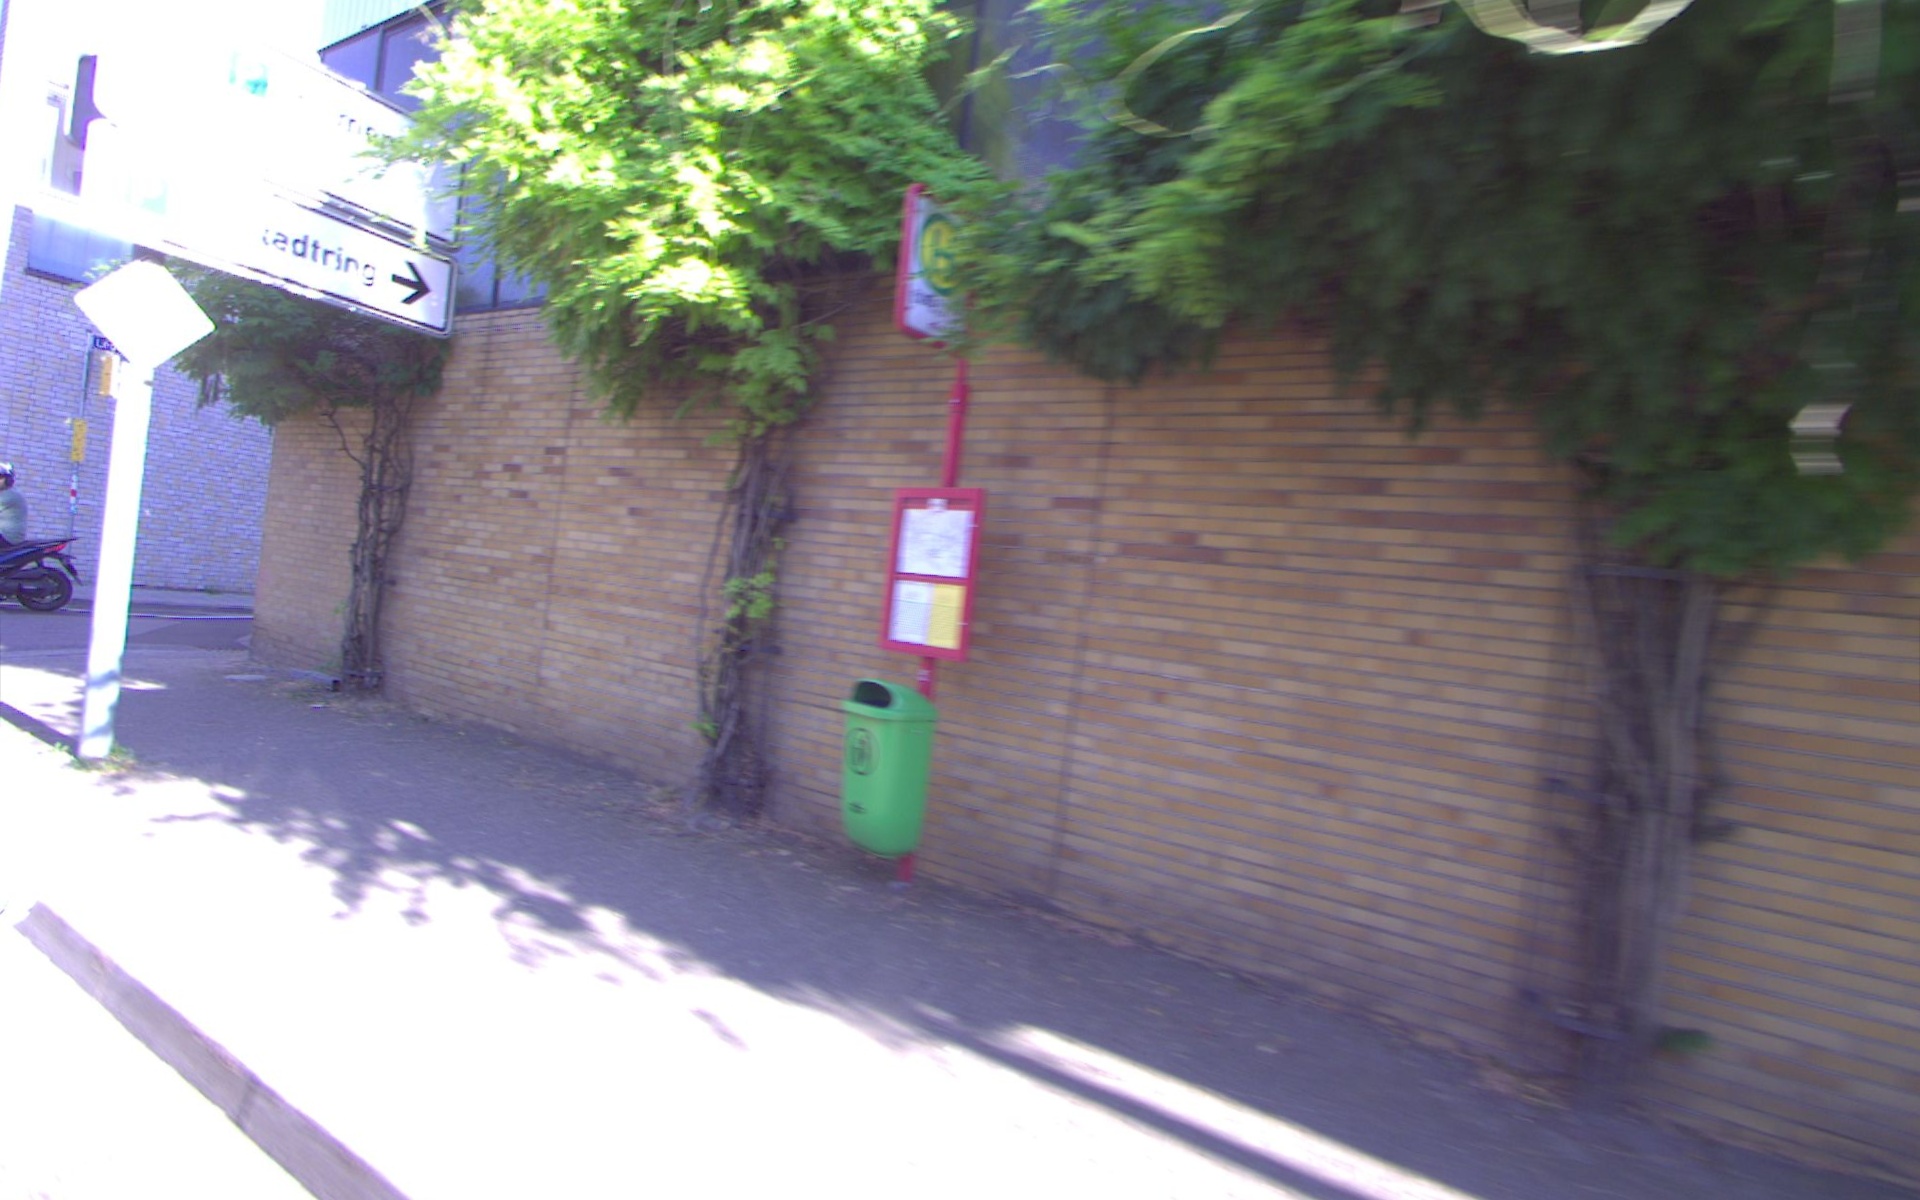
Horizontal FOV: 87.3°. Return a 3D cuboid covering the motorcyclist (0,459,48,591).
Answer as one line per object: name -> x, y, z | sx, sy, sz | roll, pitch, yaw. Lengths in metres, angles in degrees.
motorcyclist -> -11.485, -0.912, 11.762 | 0.870, 1.489, 0.889 | 9, -3, -30

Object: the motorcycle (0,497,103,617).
motorcycle -> -11.640, -0.592, 11.689 | 2.317, 1.295, 0.889 | 8, -2, -30
